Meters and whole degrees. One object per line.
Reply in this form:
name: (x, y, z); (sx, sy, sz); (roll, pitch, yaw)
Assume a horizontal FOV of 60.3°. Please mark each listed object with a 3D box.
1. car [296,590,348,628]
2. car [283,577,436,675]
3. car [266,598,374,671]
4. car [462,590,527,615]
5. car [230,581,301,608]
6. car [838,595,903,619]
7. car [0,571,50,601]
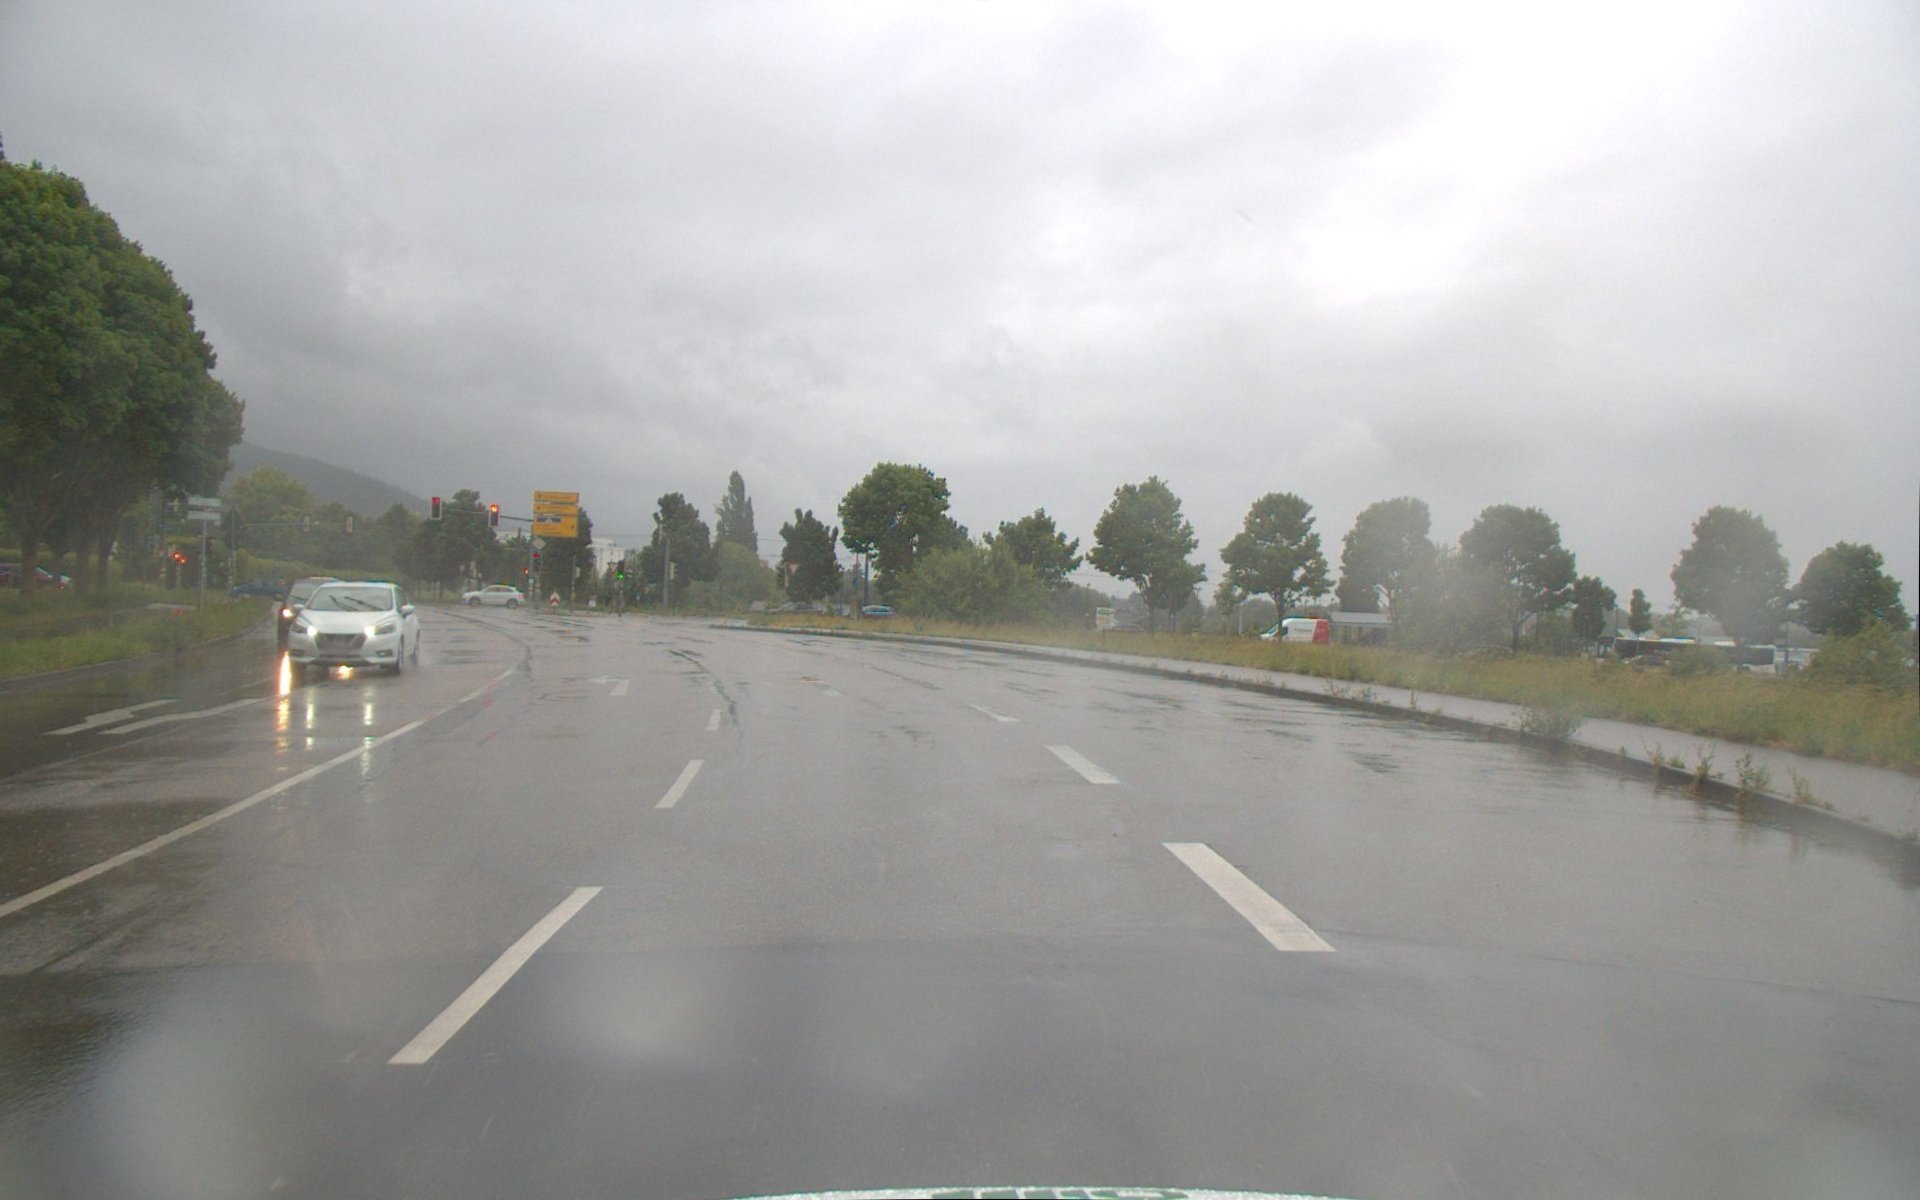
car: (-27.330, 0.372, 70.907); (1.850, 1.601, 4.620); (0, 0, -18)
car: (-9.979, 0.397, 27.751); (1.707, 1.513, 4.001); (0, 0, -10)
car: (-15.764, 0.823, 40.950); (1.852, 1.615, 4.104); (4, -1, -13)
car: (-32.868, 0.165, 116.912); (4.303, 1.607, 1.725); (3, 0, -16)
car: (-47.135, -0.364, 112.302); (4.166, 1.607, 1.725); (3, 0, -16)
car: (-6.736, 0.549, 124.483); (4.600, 1.667, 1.812); (2, 0, -20)
car: (-54.387, -0.833, 93.960); (4.304, 1.607, 1.725); (3, 0, -16)
